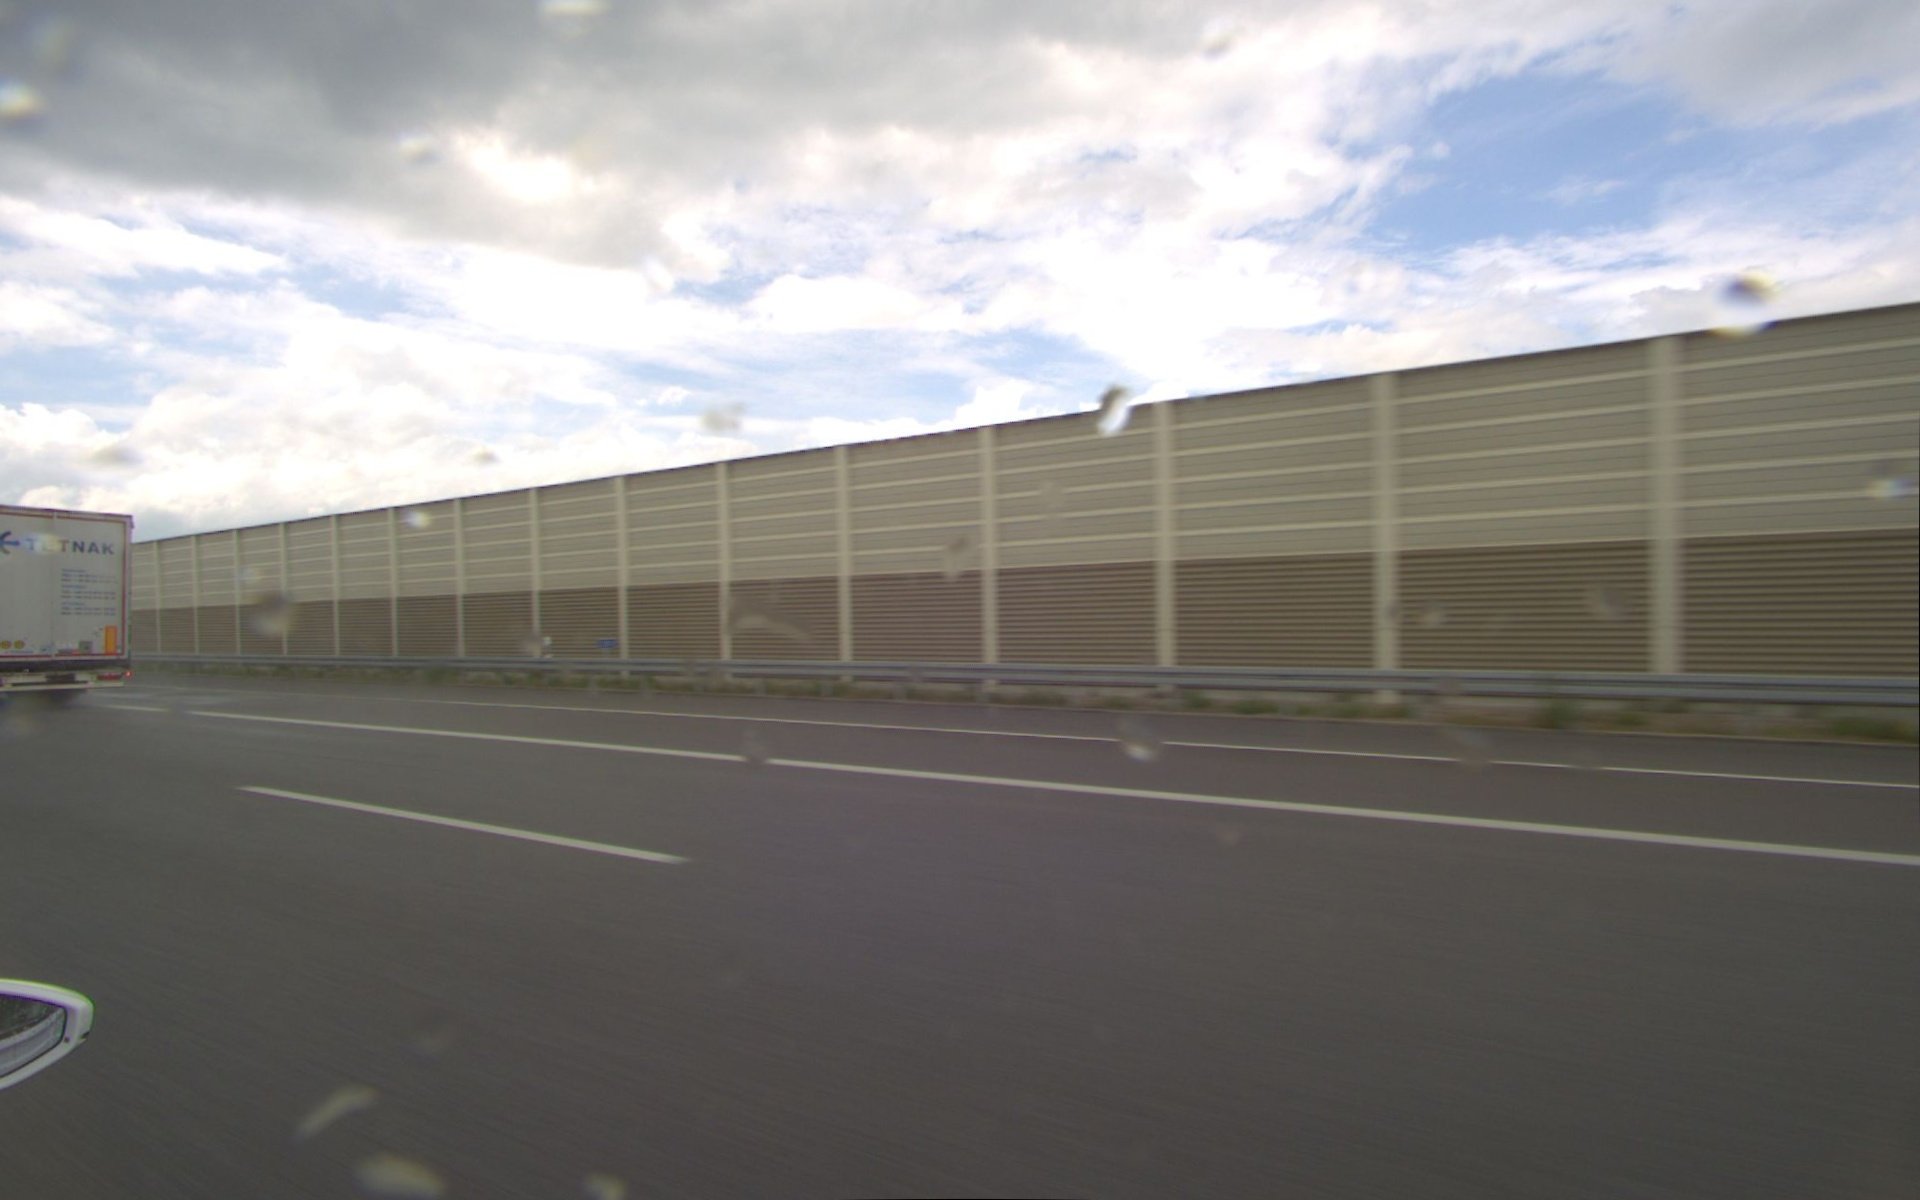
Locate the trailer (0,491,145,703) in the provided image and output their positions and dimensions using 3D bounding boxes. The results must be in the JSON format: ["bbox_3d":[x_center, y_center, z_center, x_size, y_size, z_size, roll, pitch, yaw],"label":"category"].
[{"bbox_3d":[-24.085,0.110,23.938,14.247,4.084,2.756,-1,-1,32],"label":"trailer"}]
